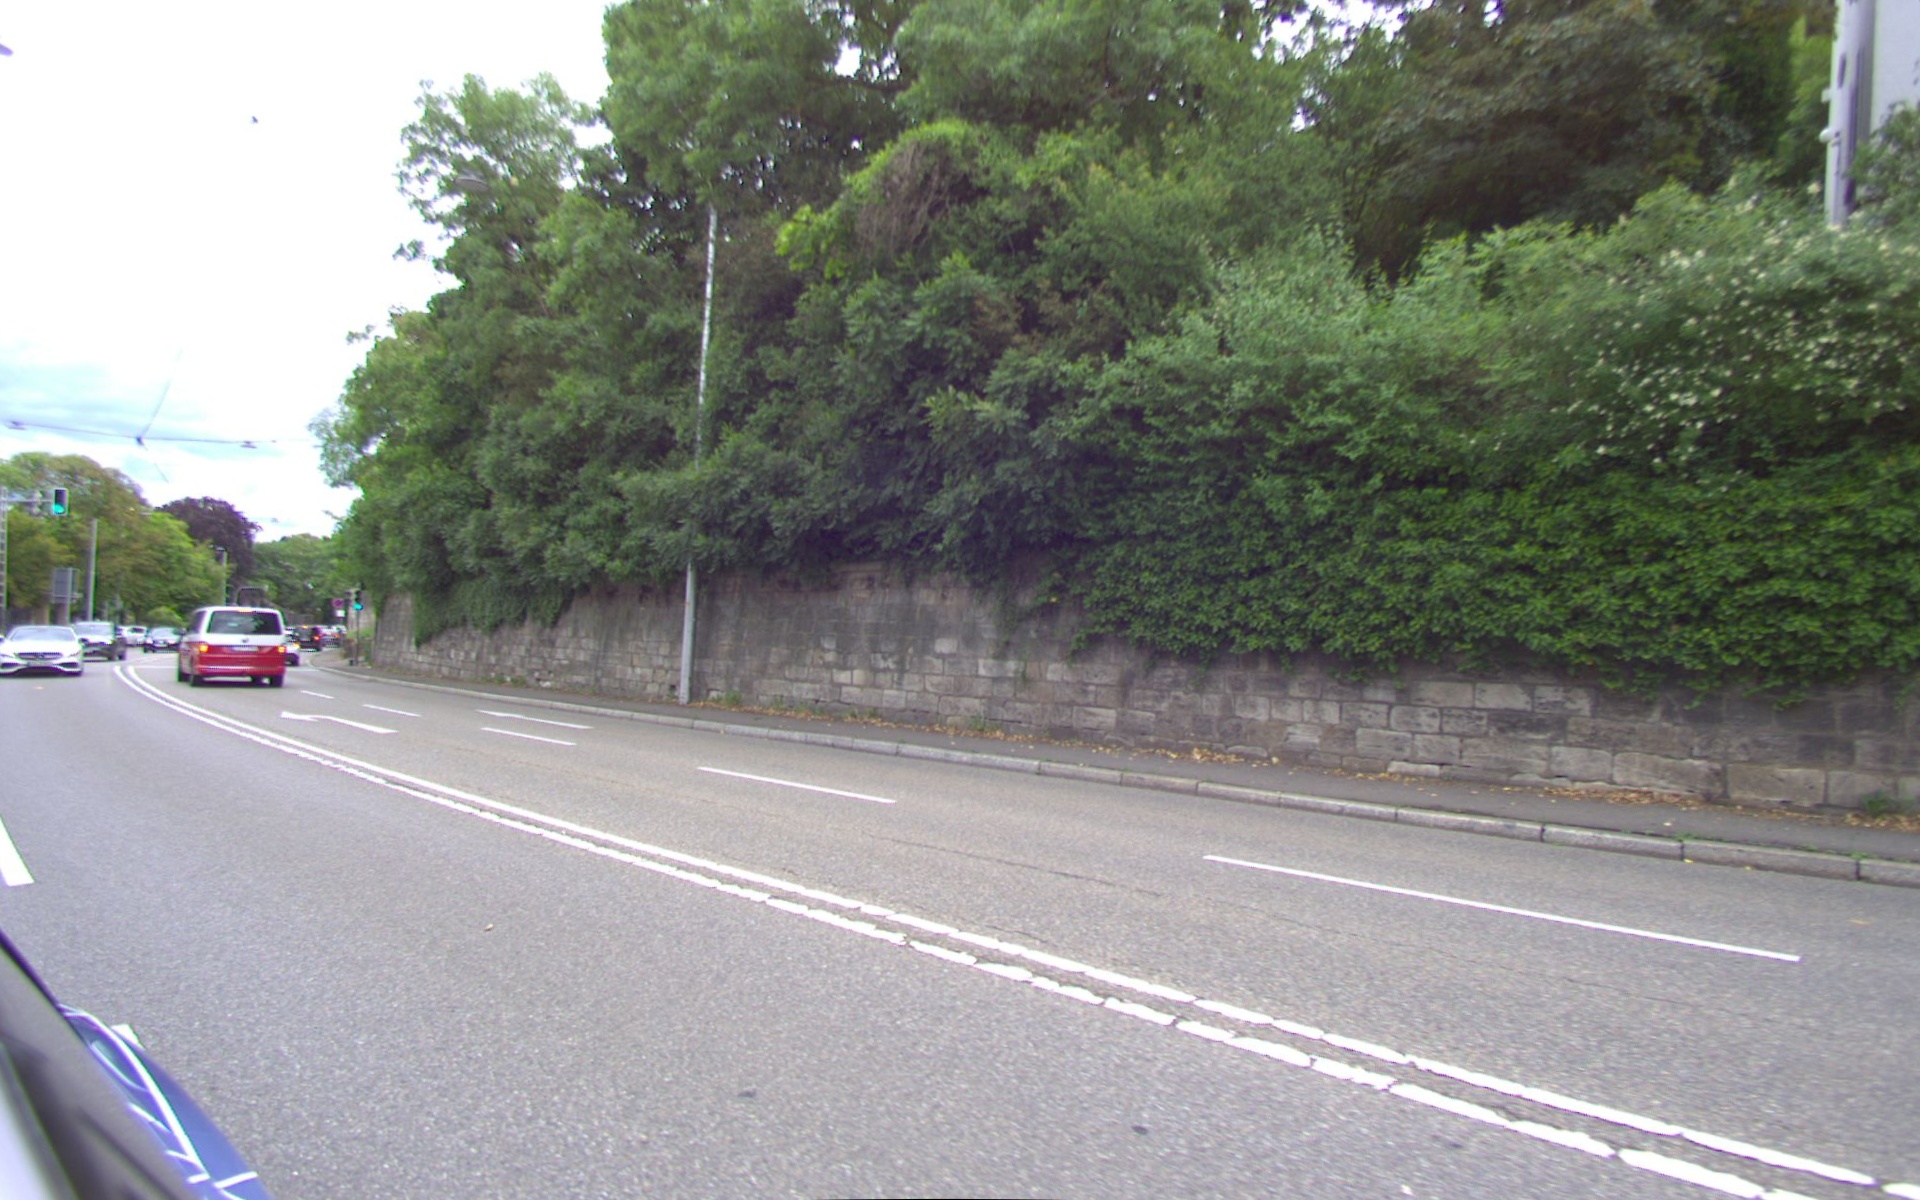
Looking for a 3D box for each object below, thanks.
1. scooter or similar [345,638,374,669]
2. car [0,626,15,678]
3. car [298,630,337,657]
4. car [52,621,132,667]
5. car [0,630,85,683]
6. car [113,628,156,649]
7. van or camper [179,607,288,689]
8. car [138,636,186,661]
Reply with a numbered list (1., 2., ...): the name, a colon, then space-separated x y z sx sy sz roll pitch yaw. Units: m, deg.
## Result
1. scooter or similar: -25.429 2.265 42.880 0.429 1.247 1.095 -2 0 10
2. car: -33.896 1.744 34.472 1.927 1.785 4.009 3 -4 -36
3. car: -47.028 3.184 74.158 1.719 1.860 4.262 2 -3 -23
4. car: -35.787 1.816 41.830 1.926 1.753 4.011 3 -4 -33
5. car: -25.816 1.567 28.398 1.776 1.401 3.533 4 -4 -40
6. car: -62.408 2.956 76.573 1.691 1.483 4.050 4 -4 -29
7. van or camper: -18.648 1.211 25.870 1.866 1.892 4.773 4 -4 -39
8. car: -46.516 2.830 59.049 1.805 1.387 4.011 3 -3 -33
